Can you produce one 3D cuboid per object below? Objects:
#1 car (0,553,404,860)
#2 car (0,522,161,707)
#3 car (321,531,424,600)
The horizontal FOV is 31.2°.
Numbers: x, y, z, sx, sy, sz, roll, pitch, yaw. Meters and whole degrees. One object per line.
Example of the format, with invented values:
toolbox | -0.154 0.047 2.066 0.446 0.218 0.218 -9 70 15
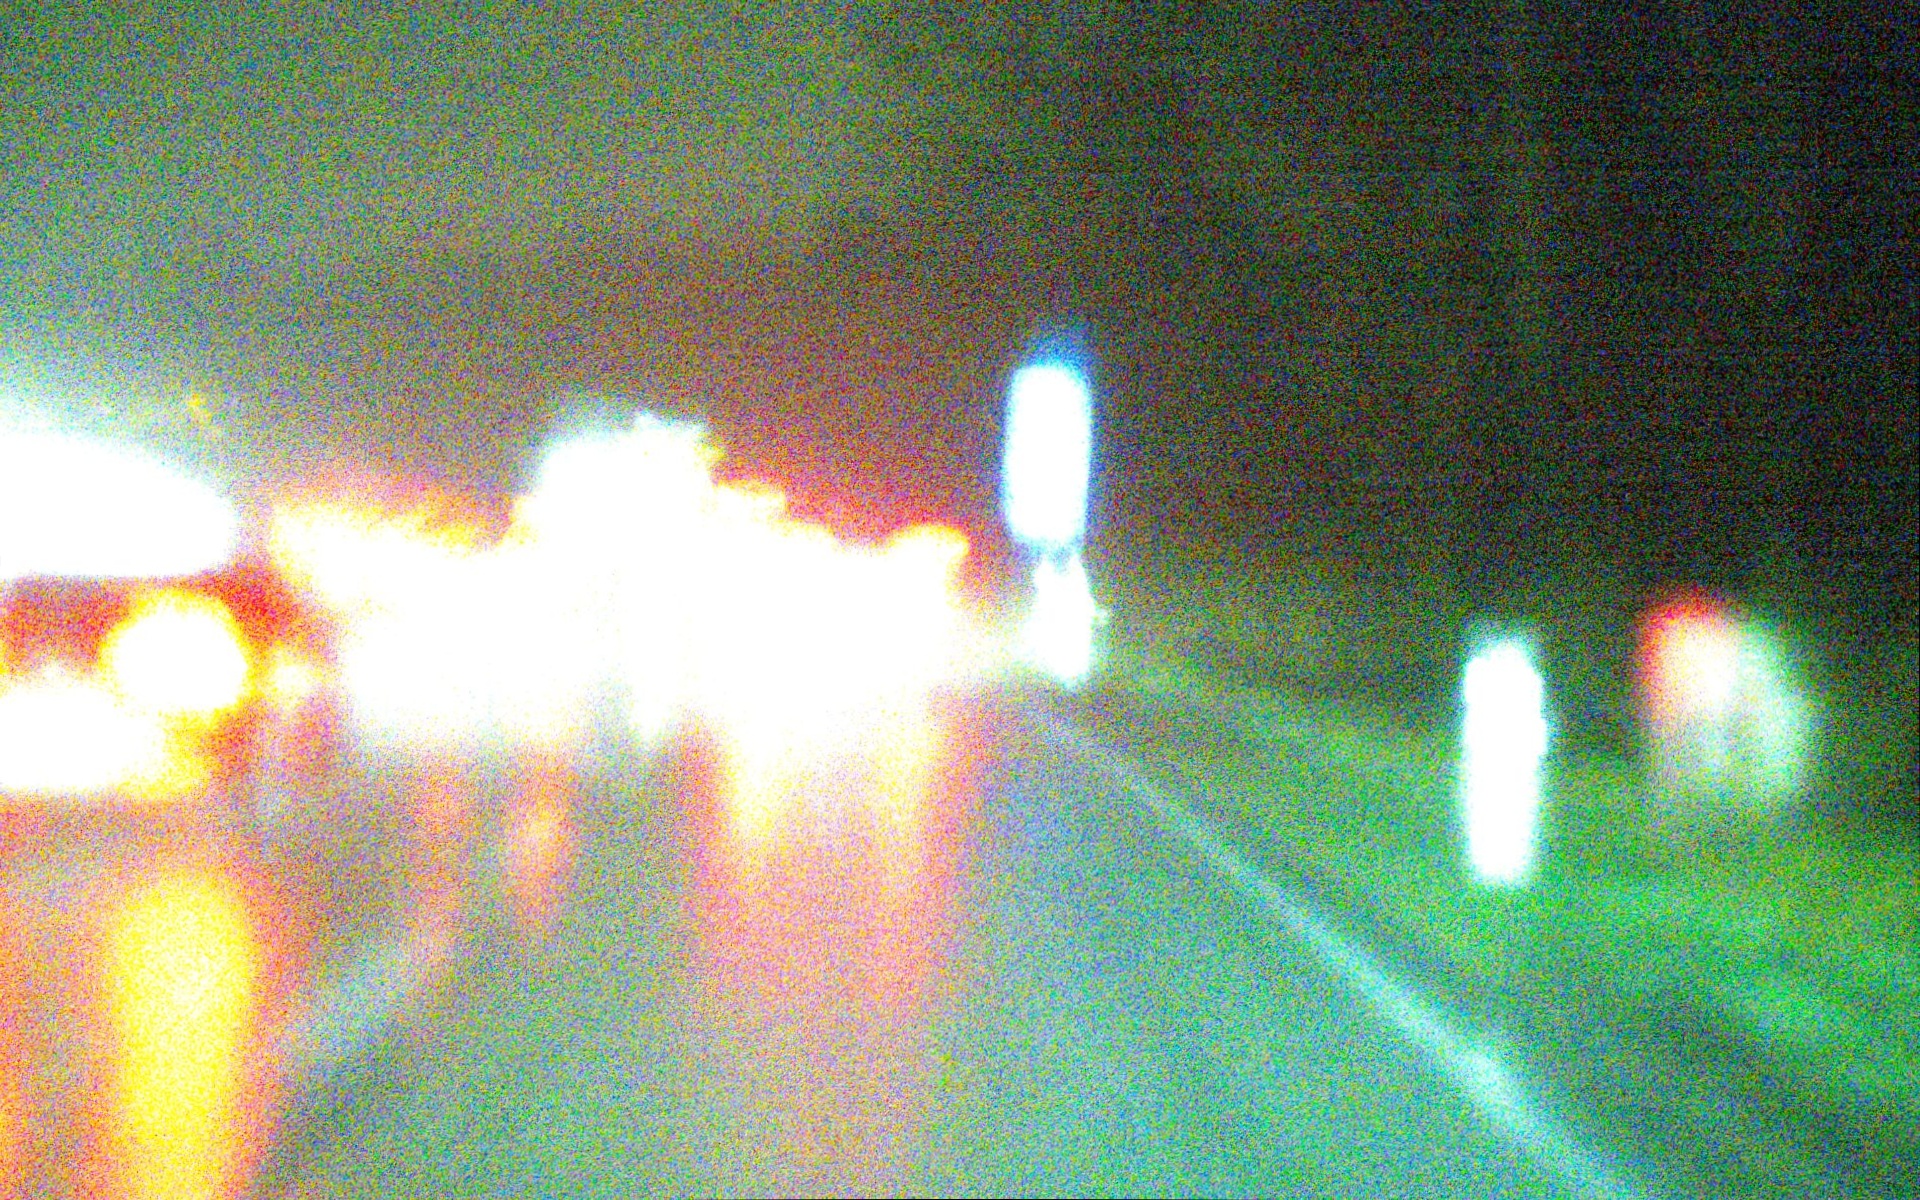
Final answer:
car | -4.284 0.472 17.957 1.962 1.376 4.049 2 0 2
car | -8.521 0.062 30.558 1.767 1.512 4.915 1 1 -1
car | -13.871 -0.799 81.315 1.892 1.545 4.000 1 0 -3
